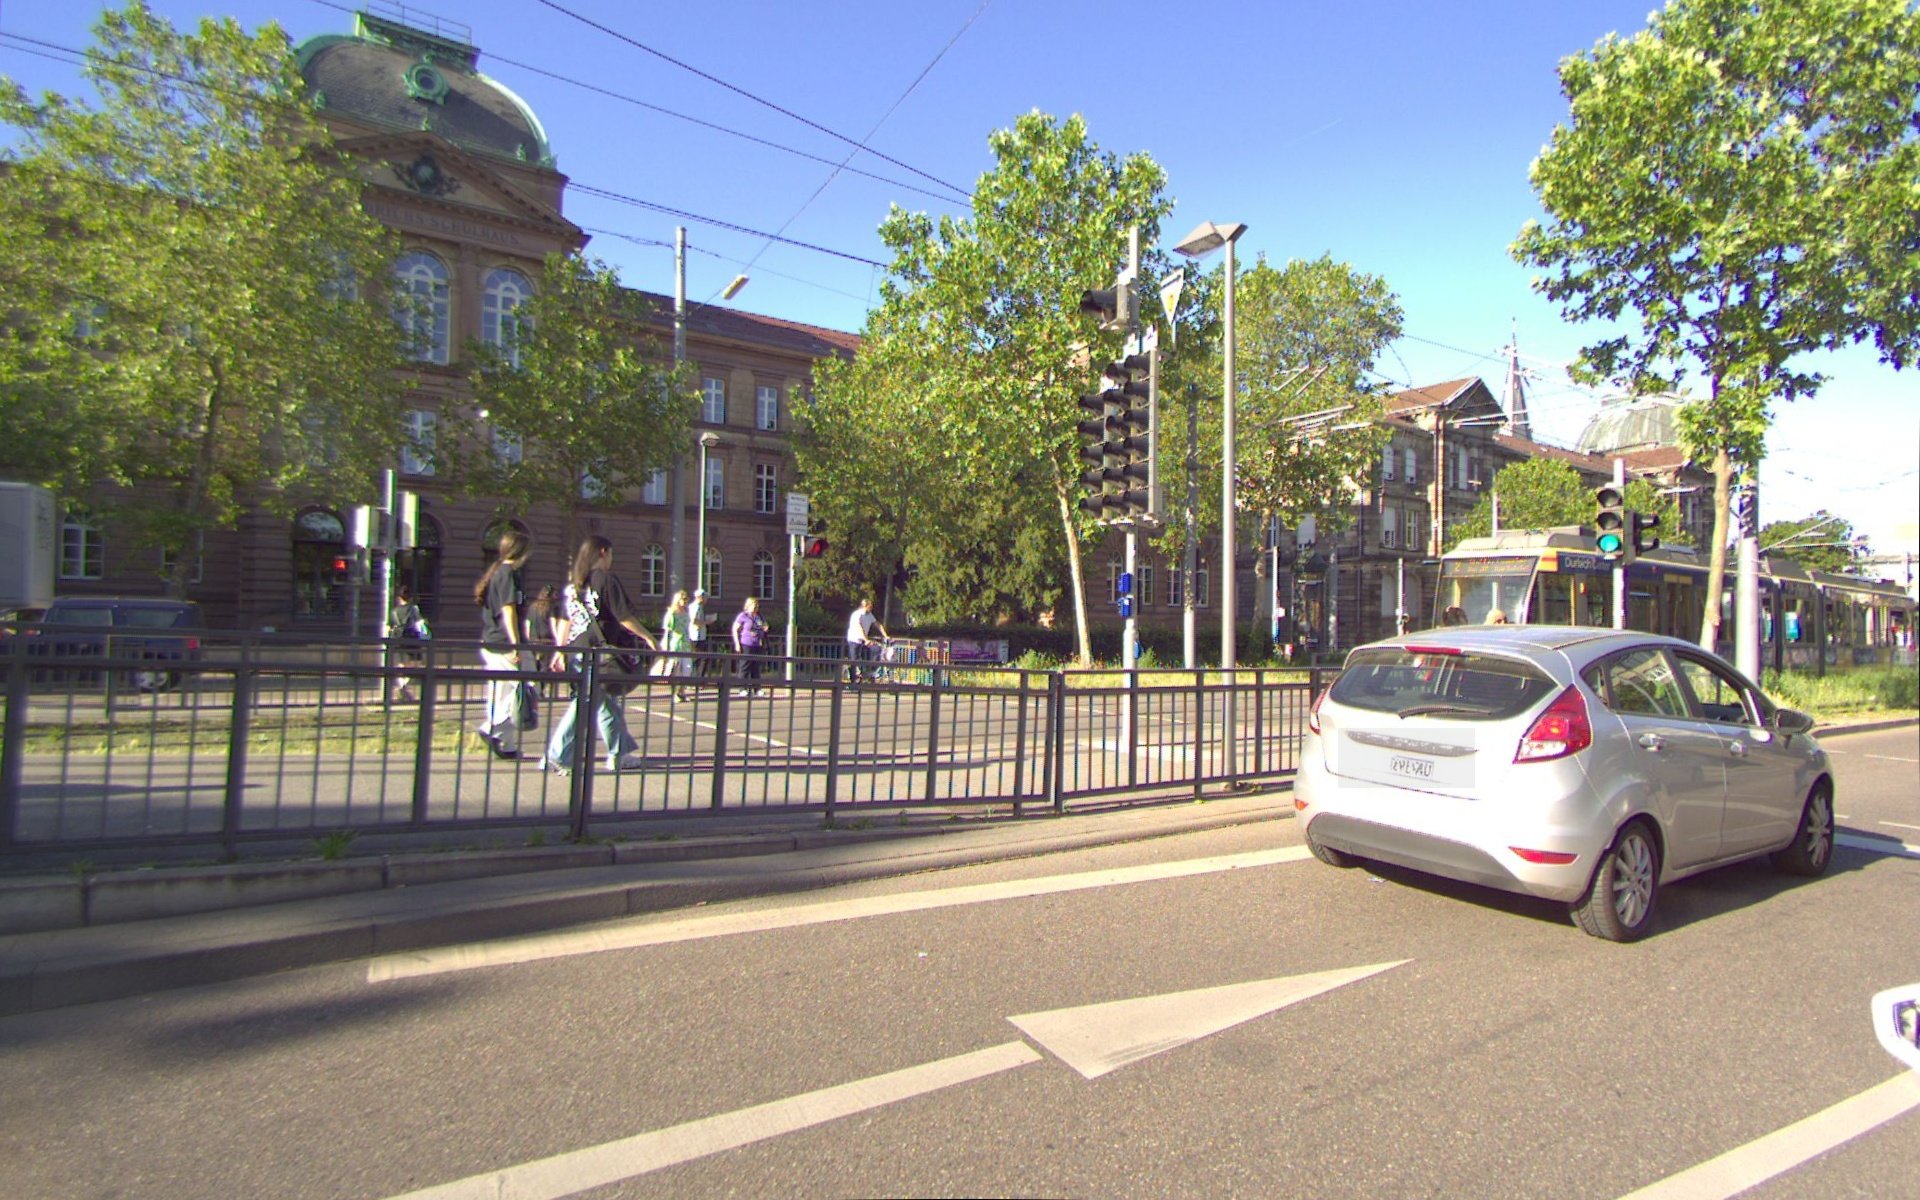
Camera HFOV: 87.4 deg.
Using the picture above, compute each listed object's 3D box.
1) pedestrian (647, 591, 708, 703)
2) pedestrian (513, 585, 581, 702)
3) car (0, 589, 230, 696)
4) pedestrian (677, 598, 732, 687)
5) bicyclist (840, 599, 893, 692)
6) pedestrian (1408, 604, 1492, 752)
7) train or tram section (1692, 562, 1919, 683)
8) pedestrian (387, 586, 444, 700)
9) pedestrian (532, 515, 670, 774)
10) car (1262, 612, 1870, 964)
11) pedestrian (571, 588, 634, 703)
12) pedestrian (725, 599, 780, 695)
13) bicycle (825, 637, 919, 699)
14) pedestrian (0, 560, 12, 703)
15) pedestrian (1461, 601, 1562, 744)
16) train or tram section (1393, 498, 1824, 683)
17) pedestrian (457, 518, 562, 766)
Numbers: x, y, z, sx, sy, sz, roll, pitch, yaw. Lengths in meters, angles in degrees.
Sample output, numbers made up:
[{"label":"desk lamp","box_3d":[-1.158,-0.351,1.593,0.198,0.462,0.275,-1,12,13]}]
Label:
[{"label":"pedestrian","box_3d":[-4.407,0.731,15.680,0.699,1.701,0.613,2,-2,-38]},{"label":"pedestrian","box_3d":[-6.436,0.666,15.675,0.620,1.766,0.710,1,-1,17]},{"label":"car","box_3d":[-15.391,0.723,17.496,4.187,1.684,1.980,3,0,-35]},{"label":"pedestrian","box_3d":[-4.652,0.767,18.264,0.771,1.582,0.704,2,-2,-31]},{"label":"bicyclist","box_3d":[-1.725,0.824,18.481,0.655,1.648,0.653,2,-1,-45]},{"label":"pedestrian","box_3d":[5.457,0.843,11.187,0.641,1.577,0.626,2,-2,-38]},{"label":"train or tram section","box_3d":[27.672,0.900,32.243,12.990,3.303,2.894,3,-1,-36]},{"label":"pedestrian","box_3d":[-8.235,0.648,15.201,0.701,1.686,0.628,2,-2,-29]},{"label":"pedestrian","box_3d":[-2.557,0.310,7.160,0.741,1.724,0.628,2,-2,-38]},{"label":"car","box_3d":[3.627,0.856,5.853,3.594,1.428,1.650,3,-1,-34]},{"label":"pedestrian","box_3d":[-5.407,0.682,15.188,0.704,1.671,0.626,2,-2,-38]},{"label":"pedestrian","box_3d":[-3.545,0.798,17.158,0.699,1.603,0.613,2,-2,-38]},{"label":"bicycle","box_3d":[-1.629,1.221,18.372,0.831,0.999,1.649,2,-1,-45]},{"label":"pedestrian","box_3d":[-12.042,0.386,12.246,0.538,1.750,0.522,2,-2,-30]},{"label":"pedestrian","box_3d":[6.664,0.855,12.174,0.925,1.650,0.629,1,-1,17]},{"label":"train or tram section","box_3d":[16.067,0.176,23.760,15.739,3.303,2.895,3,-1,-36]},{"label":"pedestrian","box_3d":[-3.312,0.303,7.379,0.541,1.724,0.604,2,-2,-38]}]
